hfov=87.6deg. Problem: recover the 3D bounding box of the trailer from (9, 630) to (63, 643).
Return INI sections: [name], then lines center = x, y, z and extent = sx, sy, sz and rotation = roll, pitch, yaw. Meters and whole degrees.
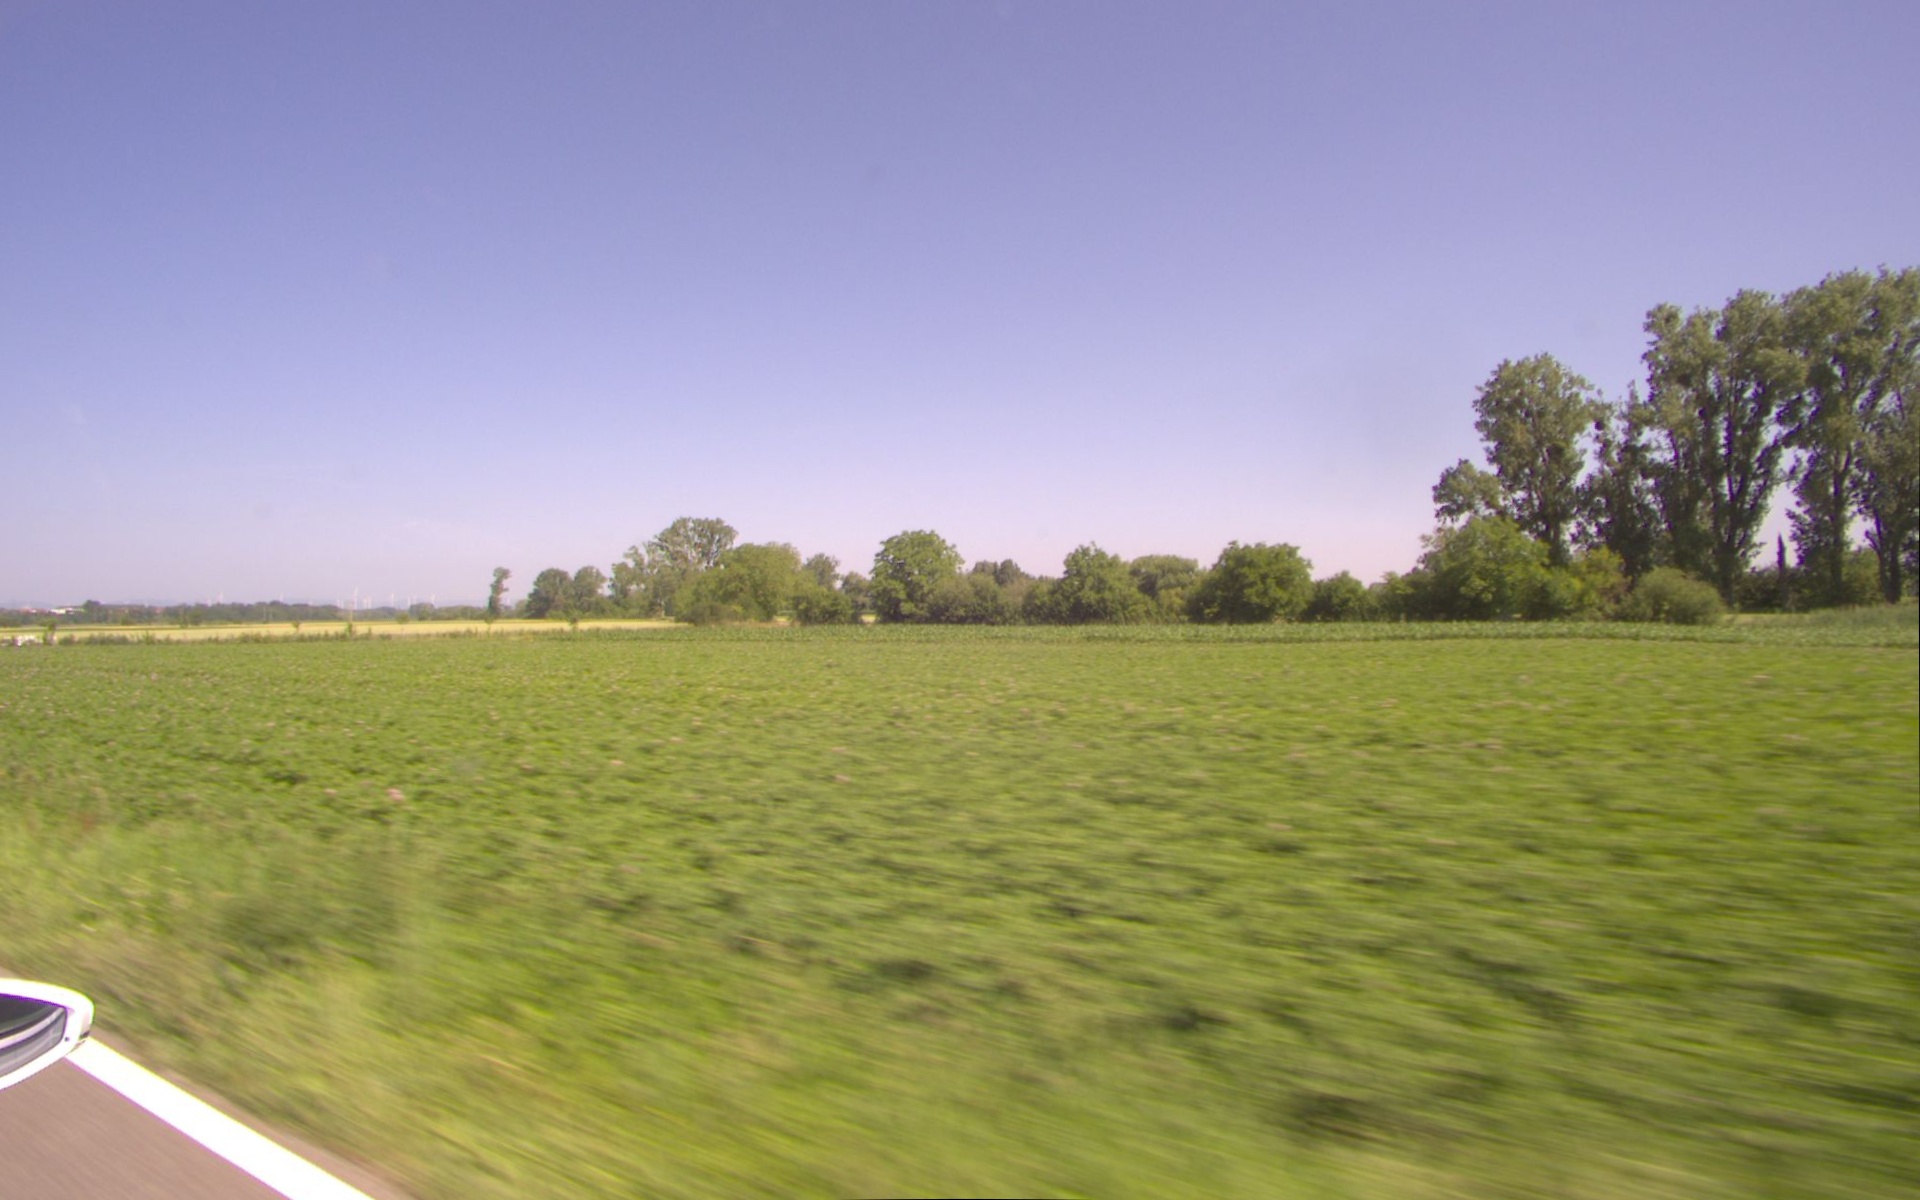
[trailer]
center = -84.770, 3.363, 91.883
extent = 1.646, 1.204, 3.565
rotation = -2, -3, 44
